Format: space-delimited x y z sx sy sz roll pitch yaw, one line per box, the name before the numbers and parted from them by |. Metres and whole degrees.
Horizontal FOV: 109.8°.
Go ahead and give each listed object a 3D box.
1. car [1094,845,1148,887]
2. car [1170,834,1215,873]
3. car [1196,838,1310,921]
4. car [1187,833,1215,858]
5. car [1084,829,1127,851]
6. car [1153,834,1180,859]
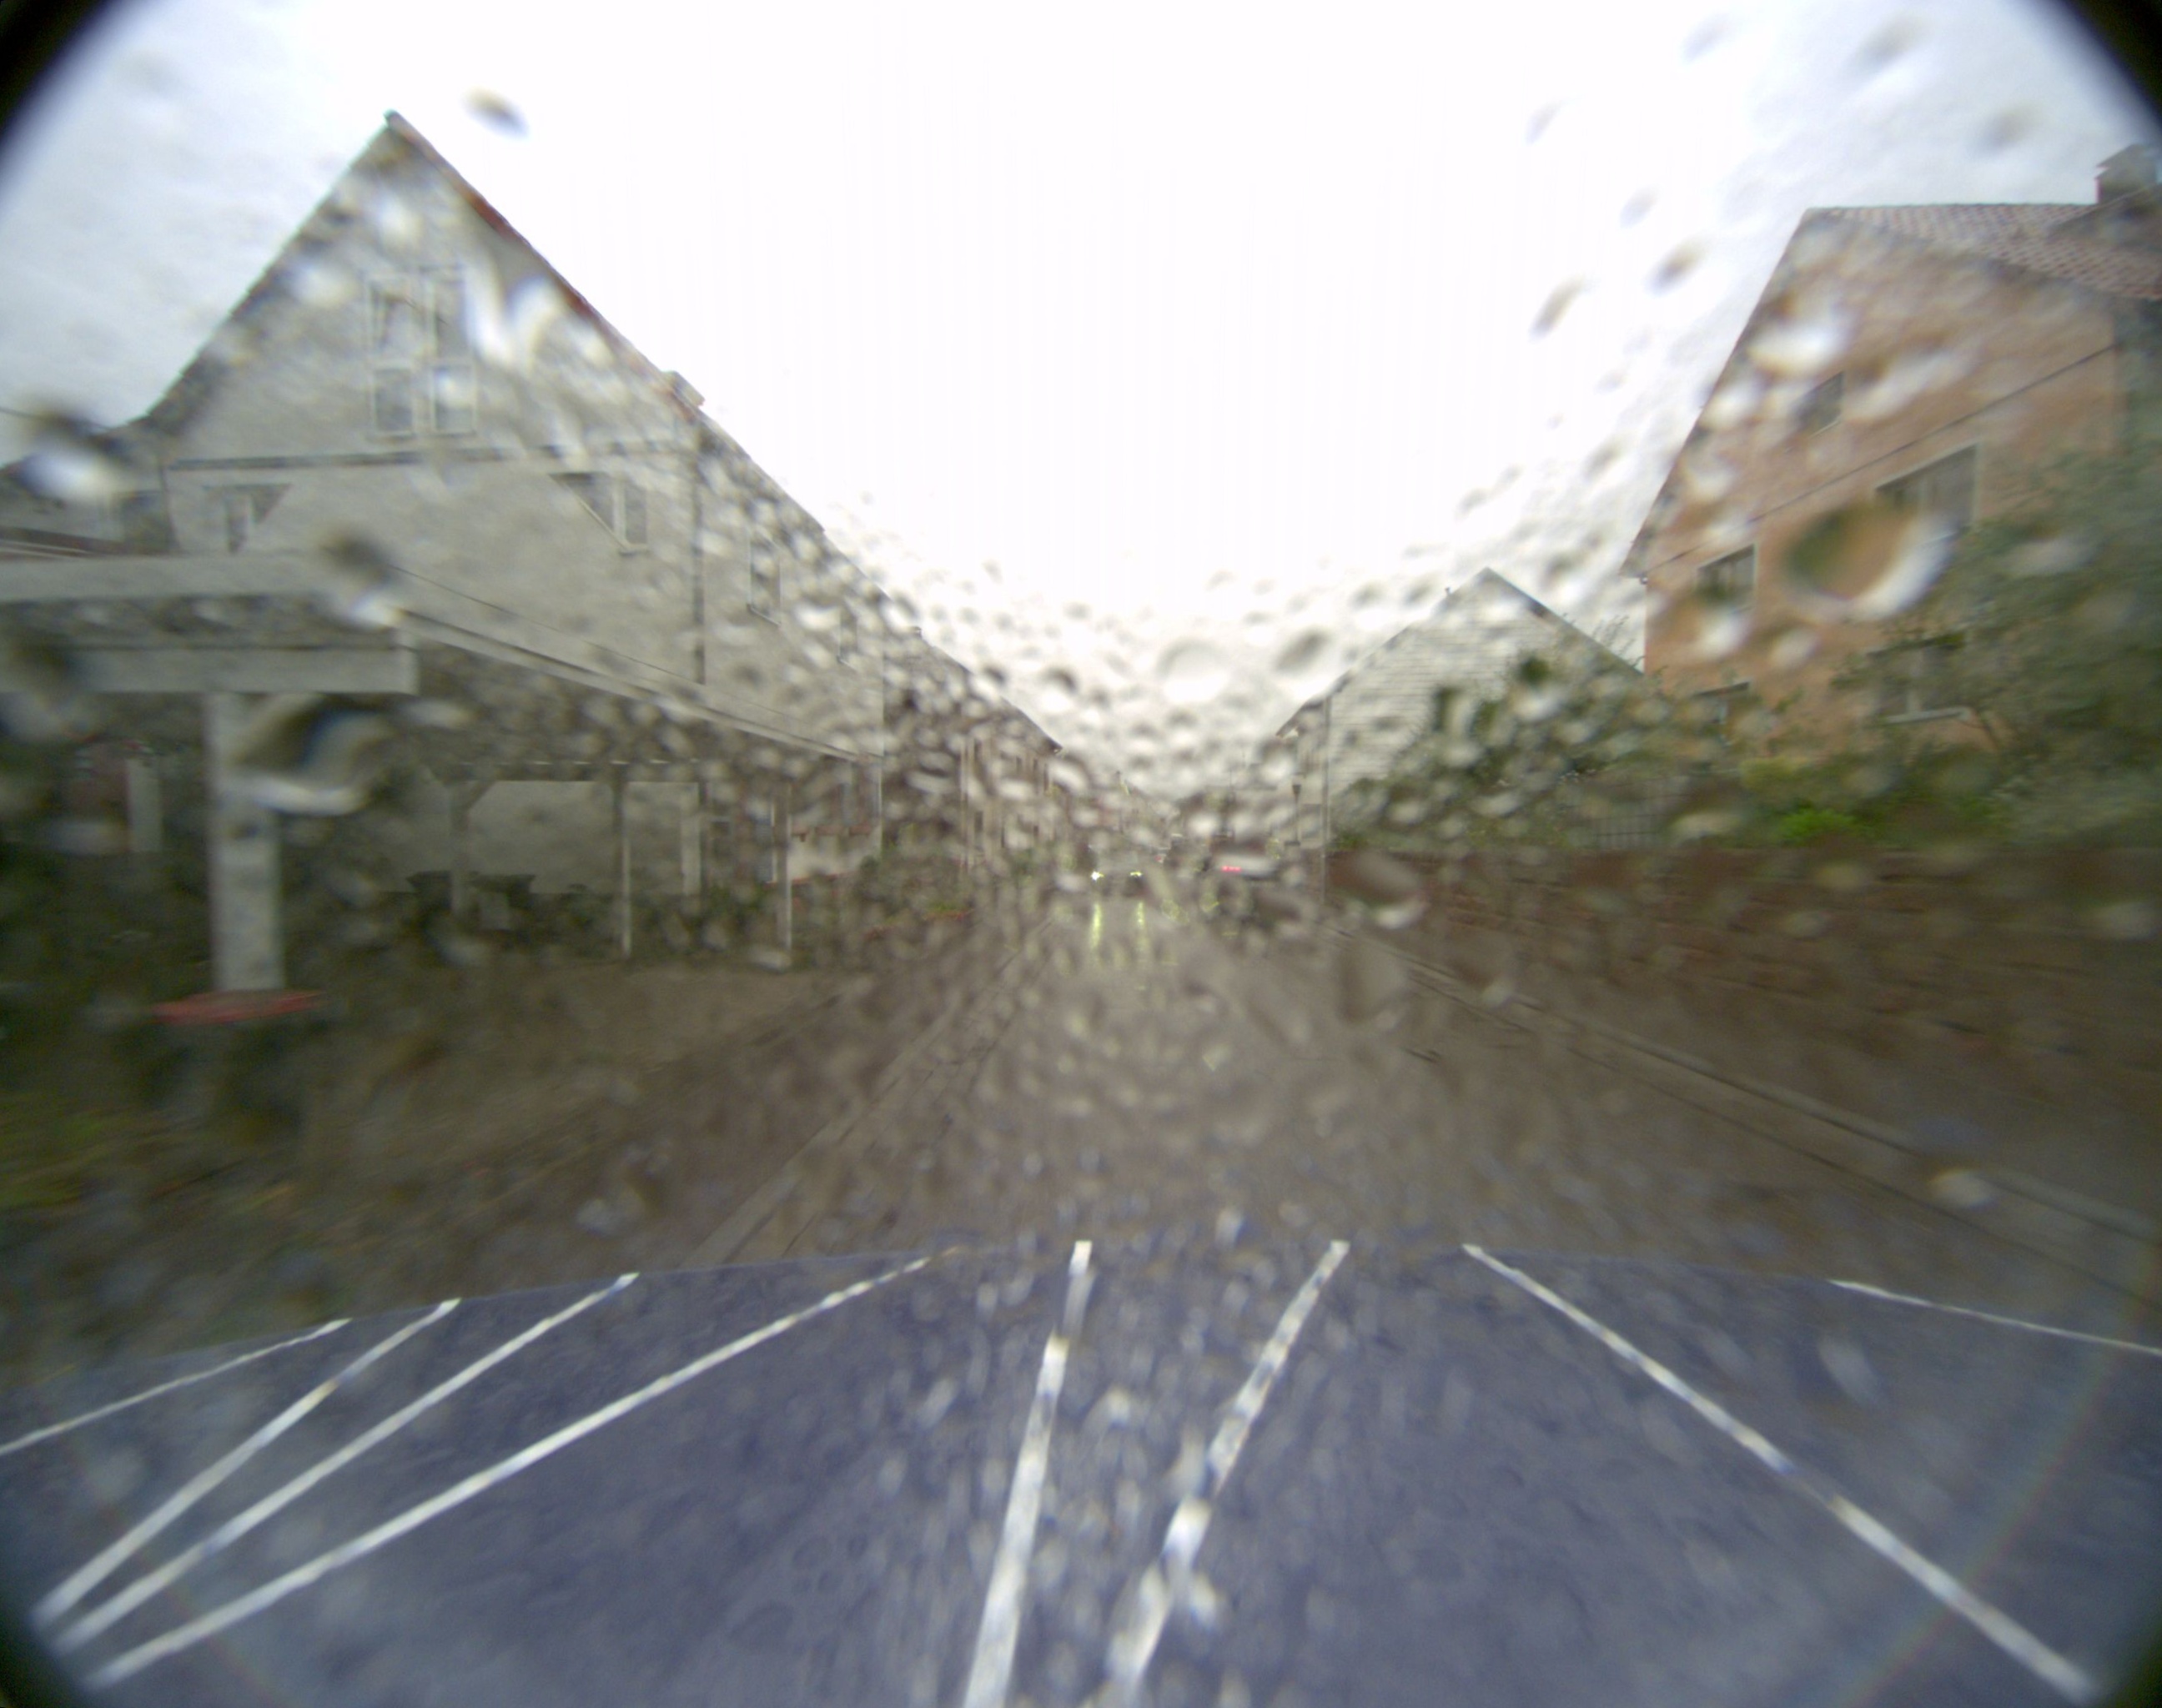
car | 1.375 0.361 26.065 1.667 1.290 3.518 -2 1 3
car | 5.323 -0.101 36.829 1.838 1.664 5.197 1 2 5
car | 3.539 0.445 16.281 1.703 1.538 3.851 2 1 3
car | 8.608 -0.651 54.327 1.814 1.675 4.185 1 2 10
car | 1.899 -1.118 60.103 1.893 1.566 3.883 -4 2 -22
car | 5.367 -0.500 48.070 1.582 1.473 3.716 2 1 5
